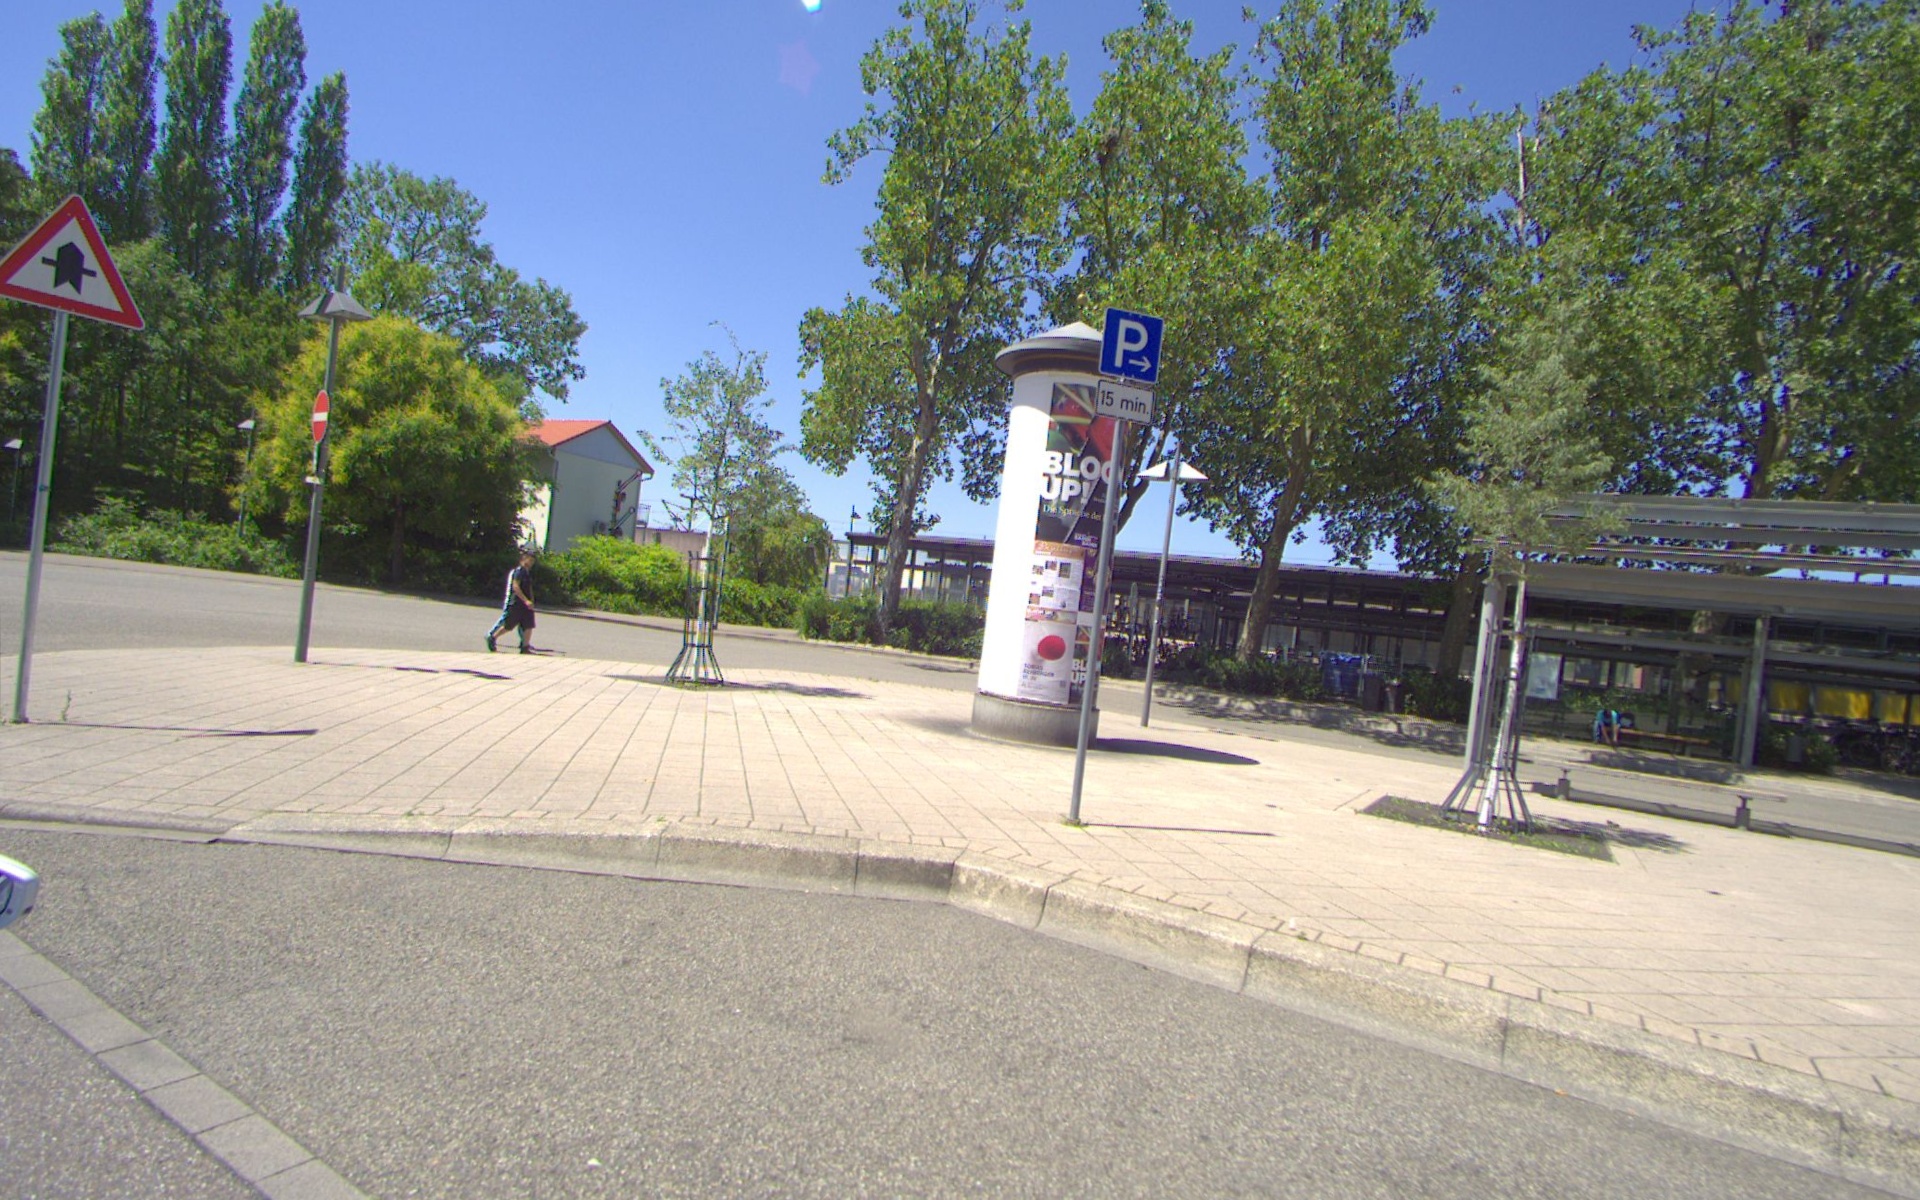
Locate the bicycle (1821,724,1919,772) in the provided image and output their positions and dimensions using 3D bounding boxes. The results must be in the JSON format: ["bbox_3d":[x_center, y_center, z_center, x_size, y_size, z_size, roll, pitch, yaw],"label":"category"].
[{"bbox_3d":[26.158,4.220,28.847,2.137,1.087,0.668,3,0,36],"label":"bicycle"}]

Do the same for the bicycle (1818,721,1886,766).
[{"bbox_3d":[26.790,4.293,30.261,0.658,1.087,2.169,3,-1,18],"label":"bicycle"}]

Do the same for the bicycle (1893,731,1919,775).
[{"bbox_3d":[26.742,4.232,27.166,2.137,1.087,0.668,3,0,35],"label":"bicycle"}]

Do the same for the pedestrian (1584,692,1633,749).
[{"bbox_3d":[16.528,3.050,25.659,0.853,1.290,0.830,7,0,28],"label":"pedestrian"}]

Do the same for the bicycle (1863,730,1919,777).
[{"bbox_3d":[25.310,4.086,26.597,2.128,1.087,0.670,3,0,3],"label":"bicycle"}]

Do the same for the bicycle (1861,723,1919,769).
[{"bbox_3d":[27.697,4.306,29.773,0.658,1.087,2.169,3,-1,18],"label":"bicycle"}]

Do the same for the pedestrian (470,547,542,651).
[{"bbox_3d":[-8.196,-0.020,18.162,0.901,1.757,0.673,7,0,37],"label":"pedestrian"}]

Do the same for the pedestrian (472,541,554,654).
[{"bbox_3d":[-7.644,-0.028,17.222,0.899,1.807,0.694,7,0,26],"label":"pedestrian"}]
